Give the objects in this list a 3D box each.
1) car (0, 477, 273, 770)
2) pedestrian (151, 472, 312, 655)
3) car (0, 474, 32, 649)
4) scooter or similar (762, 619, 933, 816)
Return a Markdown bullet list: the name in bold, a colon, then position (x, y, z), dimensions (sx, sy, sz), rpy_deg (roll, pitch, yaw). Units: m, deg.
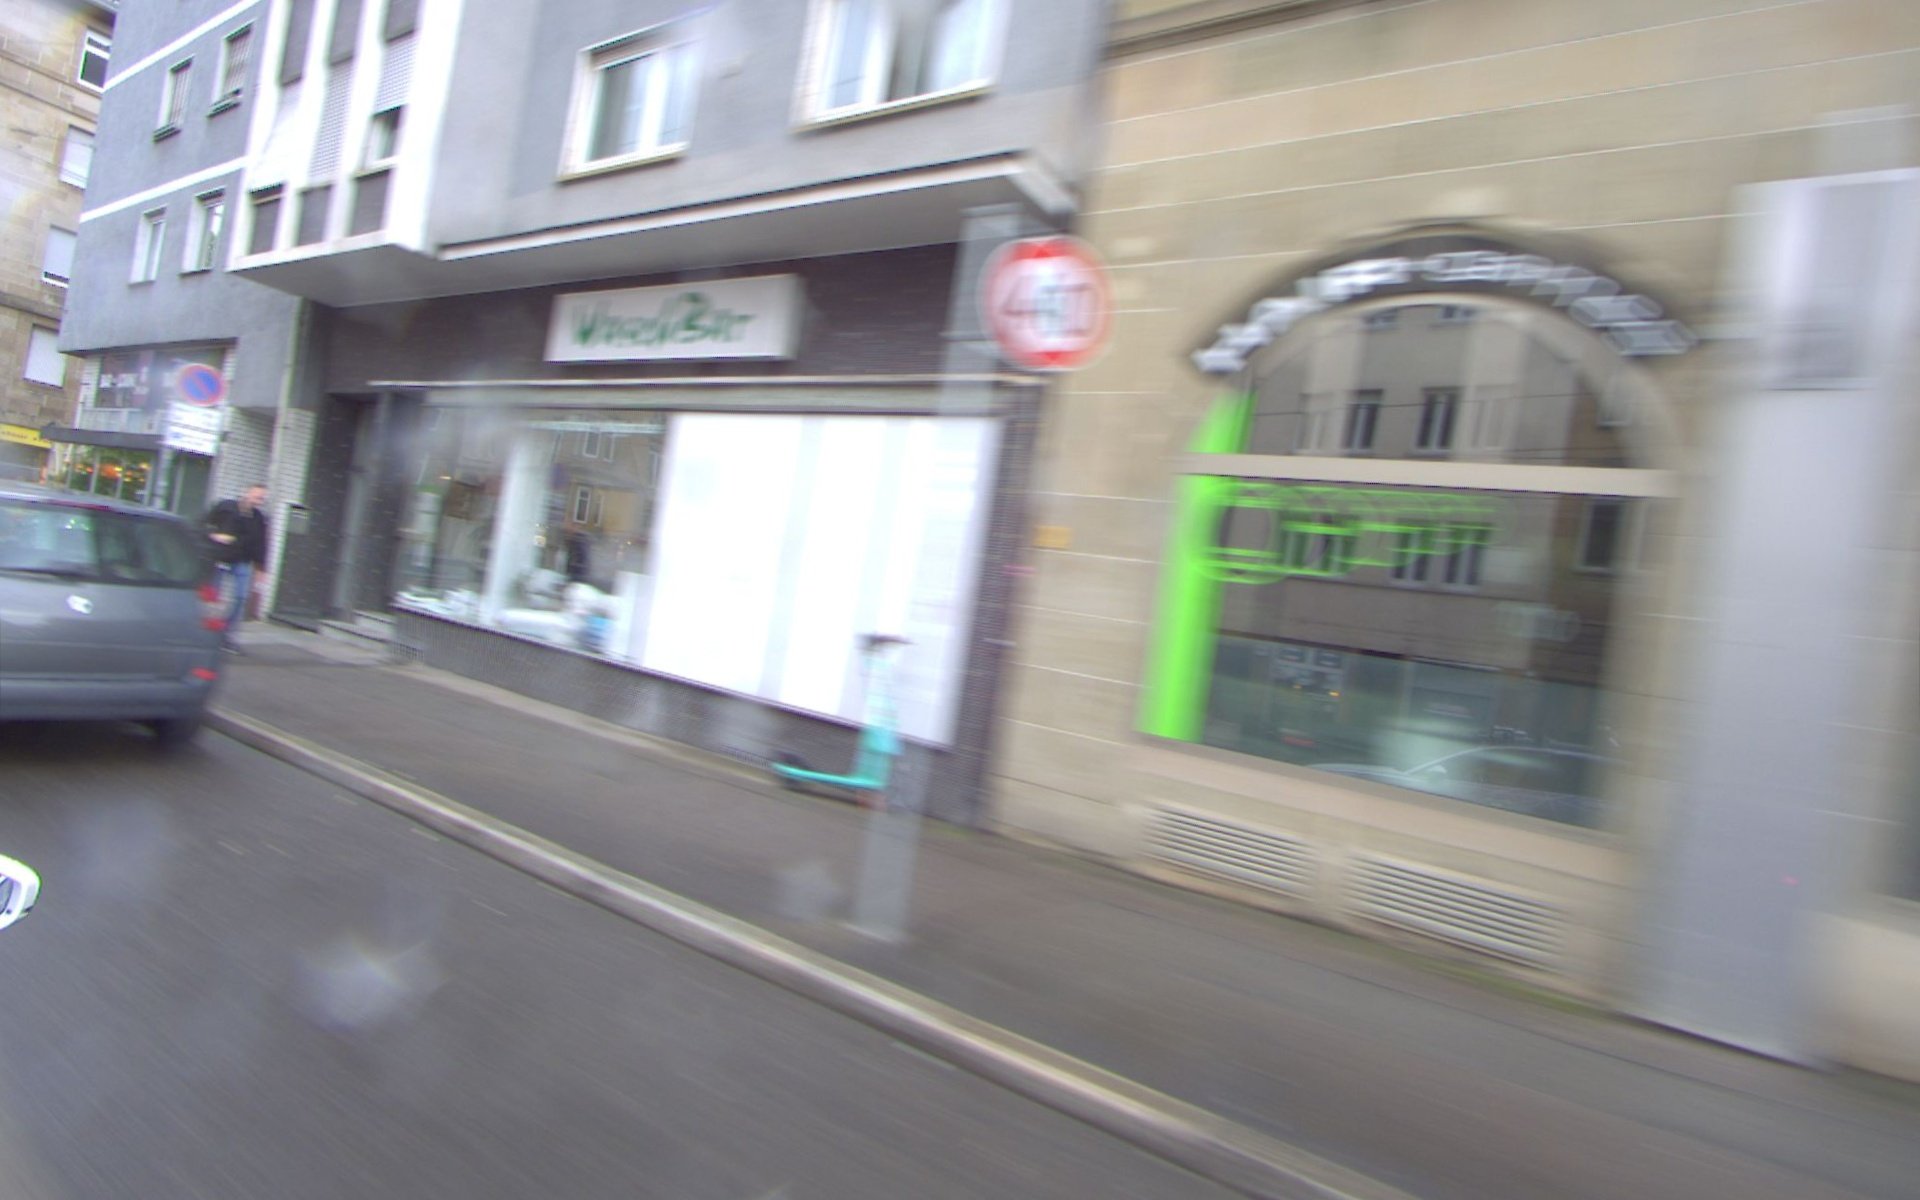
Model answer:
- **car**: position (-6.856, -0.049, 7.061), dimensions (4.671, 1.577, 1.766), rpy_deg (7, -1, 36)
- **pedestrian**: position (-7.857, -0.382, 10.859), dimensions (0.999, 1.790, 0.946), rpy_deg (7, -1, 34)
- **car**: position (-11.374, -0.630, 10.382), dimensions (4.057, 1.690, 1.684), rpy_deg (7, -1, 35)
- **scooter or similar**: position (-0.827, 0.824, 7.312), dimensions (1.089, 1.230, 0.395), rpy_deg (7, 0, 34)
